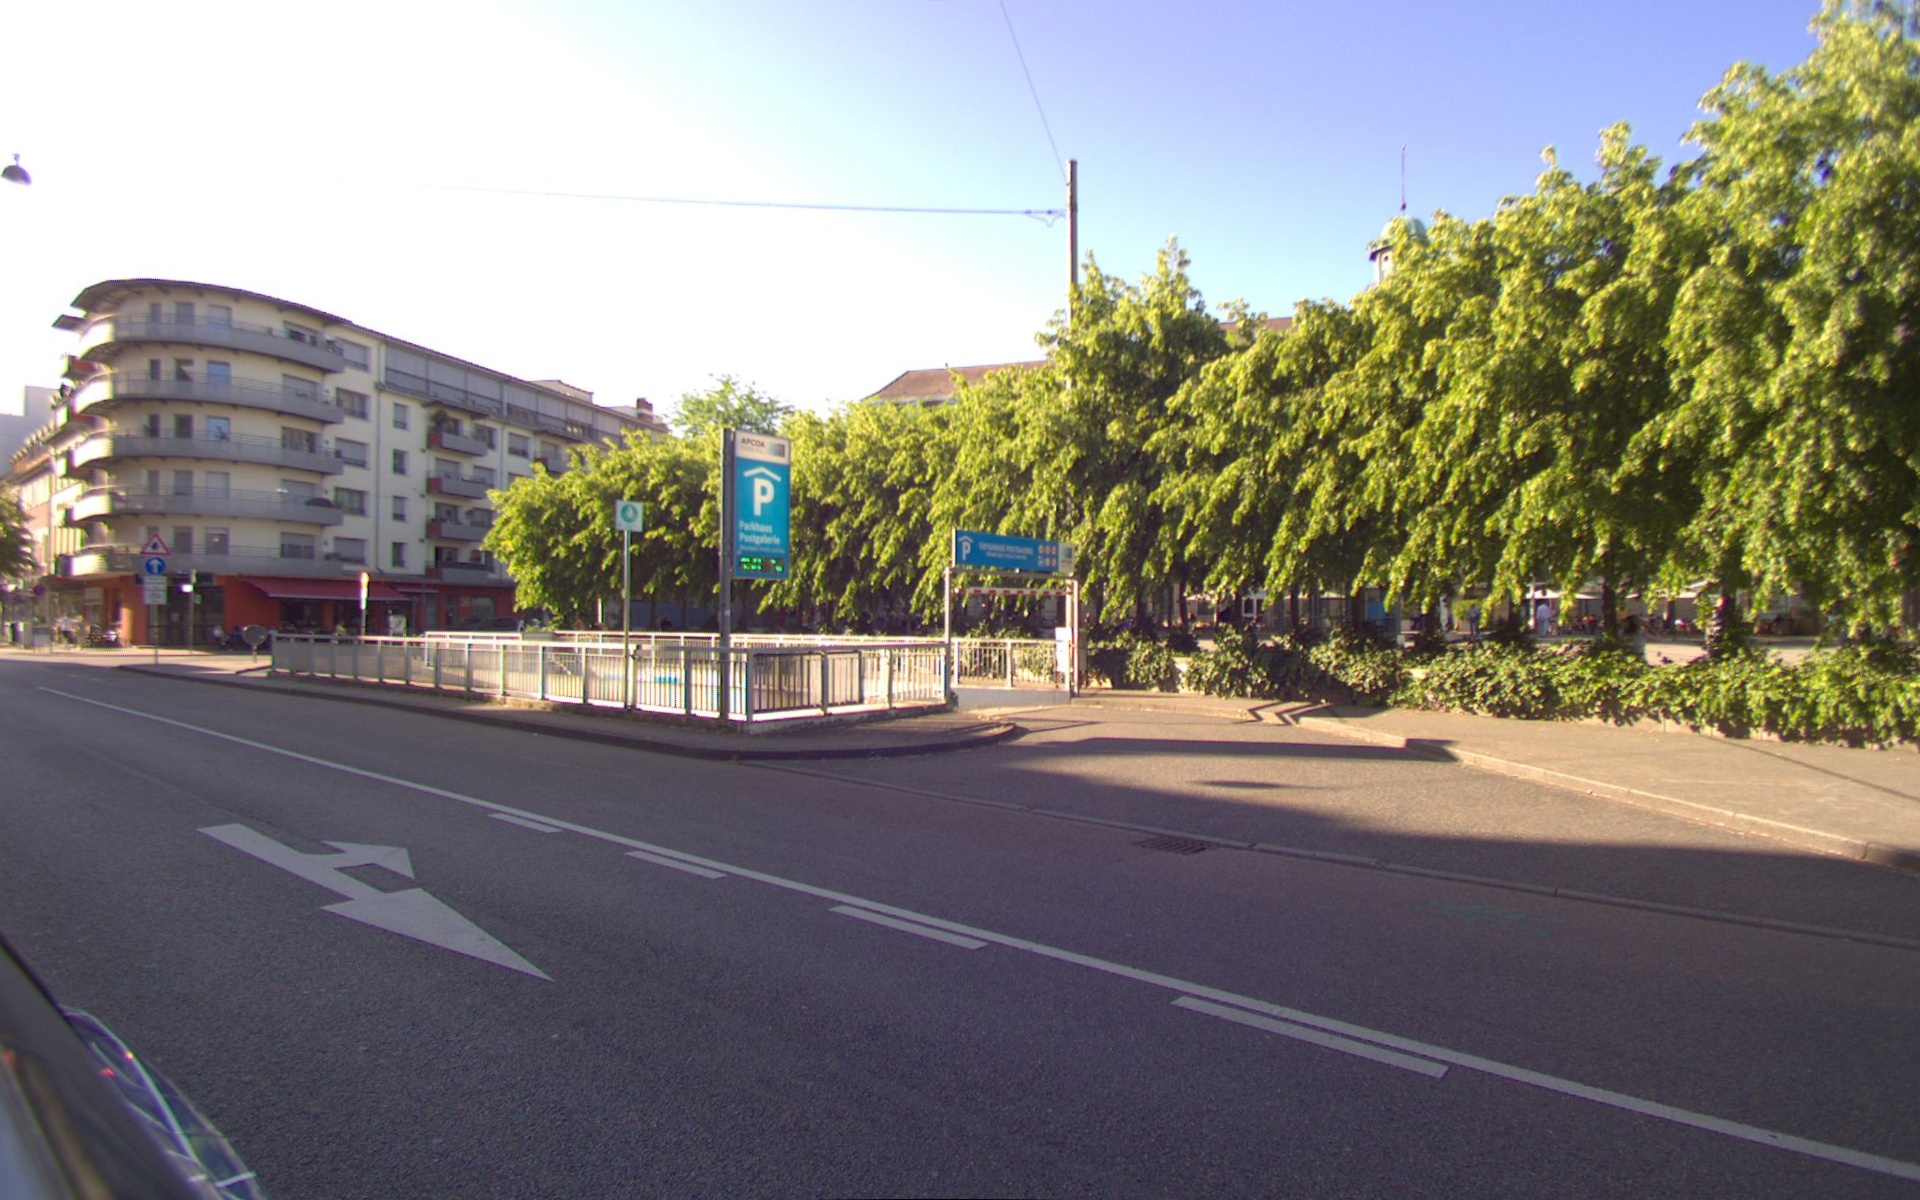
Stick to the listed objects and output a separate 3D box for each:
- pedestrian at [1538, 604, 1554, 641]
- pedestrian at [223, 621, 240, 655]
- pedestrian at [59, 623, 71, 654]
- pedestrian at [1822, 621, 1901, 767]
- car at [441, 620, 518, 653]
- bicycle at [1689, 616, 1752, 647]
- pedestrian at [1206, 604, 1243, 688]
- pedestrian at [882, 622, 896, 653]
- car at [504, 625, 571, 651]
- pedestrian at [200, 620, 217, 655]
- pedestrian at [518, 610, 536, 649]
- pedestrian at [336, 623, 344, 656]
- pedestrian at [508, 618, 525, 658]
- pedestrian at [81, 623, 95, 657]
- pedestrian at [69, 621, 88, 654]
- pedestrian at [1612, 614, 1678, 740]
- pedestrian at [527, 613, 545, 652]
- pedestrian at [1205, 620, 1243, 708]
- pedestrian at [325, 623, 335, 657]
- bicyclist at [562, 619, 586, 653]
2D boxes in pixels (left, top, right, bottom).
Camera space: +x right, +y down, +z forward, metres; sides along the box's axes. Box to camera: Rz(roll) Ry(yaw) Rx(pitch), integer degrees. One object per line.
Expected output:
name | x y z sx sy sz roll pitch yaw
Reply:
pedestrian | 28.268 1.080 48.804 0.598 1.806 0.577 -1 -1 27
pedestrian | -36.291 1.887 50.423 0.642 1.721 0.568 -2 -2 43
pedestrian | -43.848 1.879 49.581 0.515 1.541 0.371 -1 -1 37
pedestrian | 12.013 1.228 13.499 0.597 1.870 0.578 -1 -1 22
car | -29.818 2.227 62.979 1.938 1.927 4.403 -1 -1 16
bicycle | 26.205 1.062 34.896 0.496 1.024 2.061 -1 0 -3
pedestrian | 6.045 1.035 23.140 0.674 1.870 0.577 -1 -1 30
pedestrian | -4.105 2.162 58.591 0.578 1.806 0.597 -1 0 20
car | -28.378 2.505 68.142 1.938 1.633 4.272 -1 -1 16
pedestrian | -37.268 1.844 50.215 0.642 1.721 0.568 -2 -2 43
pedestrian | -20.149 1.381 47.086 0.574 1.806 0.602 -1 0 -5
pedestrian | -31.550 2.011 51.481 0.266 1.680 0.362 0 -1 -17
pedestrian | -20.336 1.749 46.402 0.574 1.806 0.602 -1 0 -5
pedestrian | -43.511 1.991 50.477 0.515 1.685 0.437 -1 -1 37
pedestrian | -43.523 1.851 49.947 0.792 1.634 0.563 -1 -1 37
pedestrian | 10.494 1.153 15.498 0.732 1.870 0.574 -1 -1 44
pedestrian | -20.010 1.517 47.791 0.574 1.806 0.601 -1 0 0
pedestrian | 5.808 1.389 22.265 0.600 1.870 0.575 -1 -1 38
pedestrian | -31.876 2.014 51.219 0.318 1.680 0.362 0 -1 -17
bicyclist | -18.733 1.743 49.133 0.960 1.627 0.715 0 0 -10
